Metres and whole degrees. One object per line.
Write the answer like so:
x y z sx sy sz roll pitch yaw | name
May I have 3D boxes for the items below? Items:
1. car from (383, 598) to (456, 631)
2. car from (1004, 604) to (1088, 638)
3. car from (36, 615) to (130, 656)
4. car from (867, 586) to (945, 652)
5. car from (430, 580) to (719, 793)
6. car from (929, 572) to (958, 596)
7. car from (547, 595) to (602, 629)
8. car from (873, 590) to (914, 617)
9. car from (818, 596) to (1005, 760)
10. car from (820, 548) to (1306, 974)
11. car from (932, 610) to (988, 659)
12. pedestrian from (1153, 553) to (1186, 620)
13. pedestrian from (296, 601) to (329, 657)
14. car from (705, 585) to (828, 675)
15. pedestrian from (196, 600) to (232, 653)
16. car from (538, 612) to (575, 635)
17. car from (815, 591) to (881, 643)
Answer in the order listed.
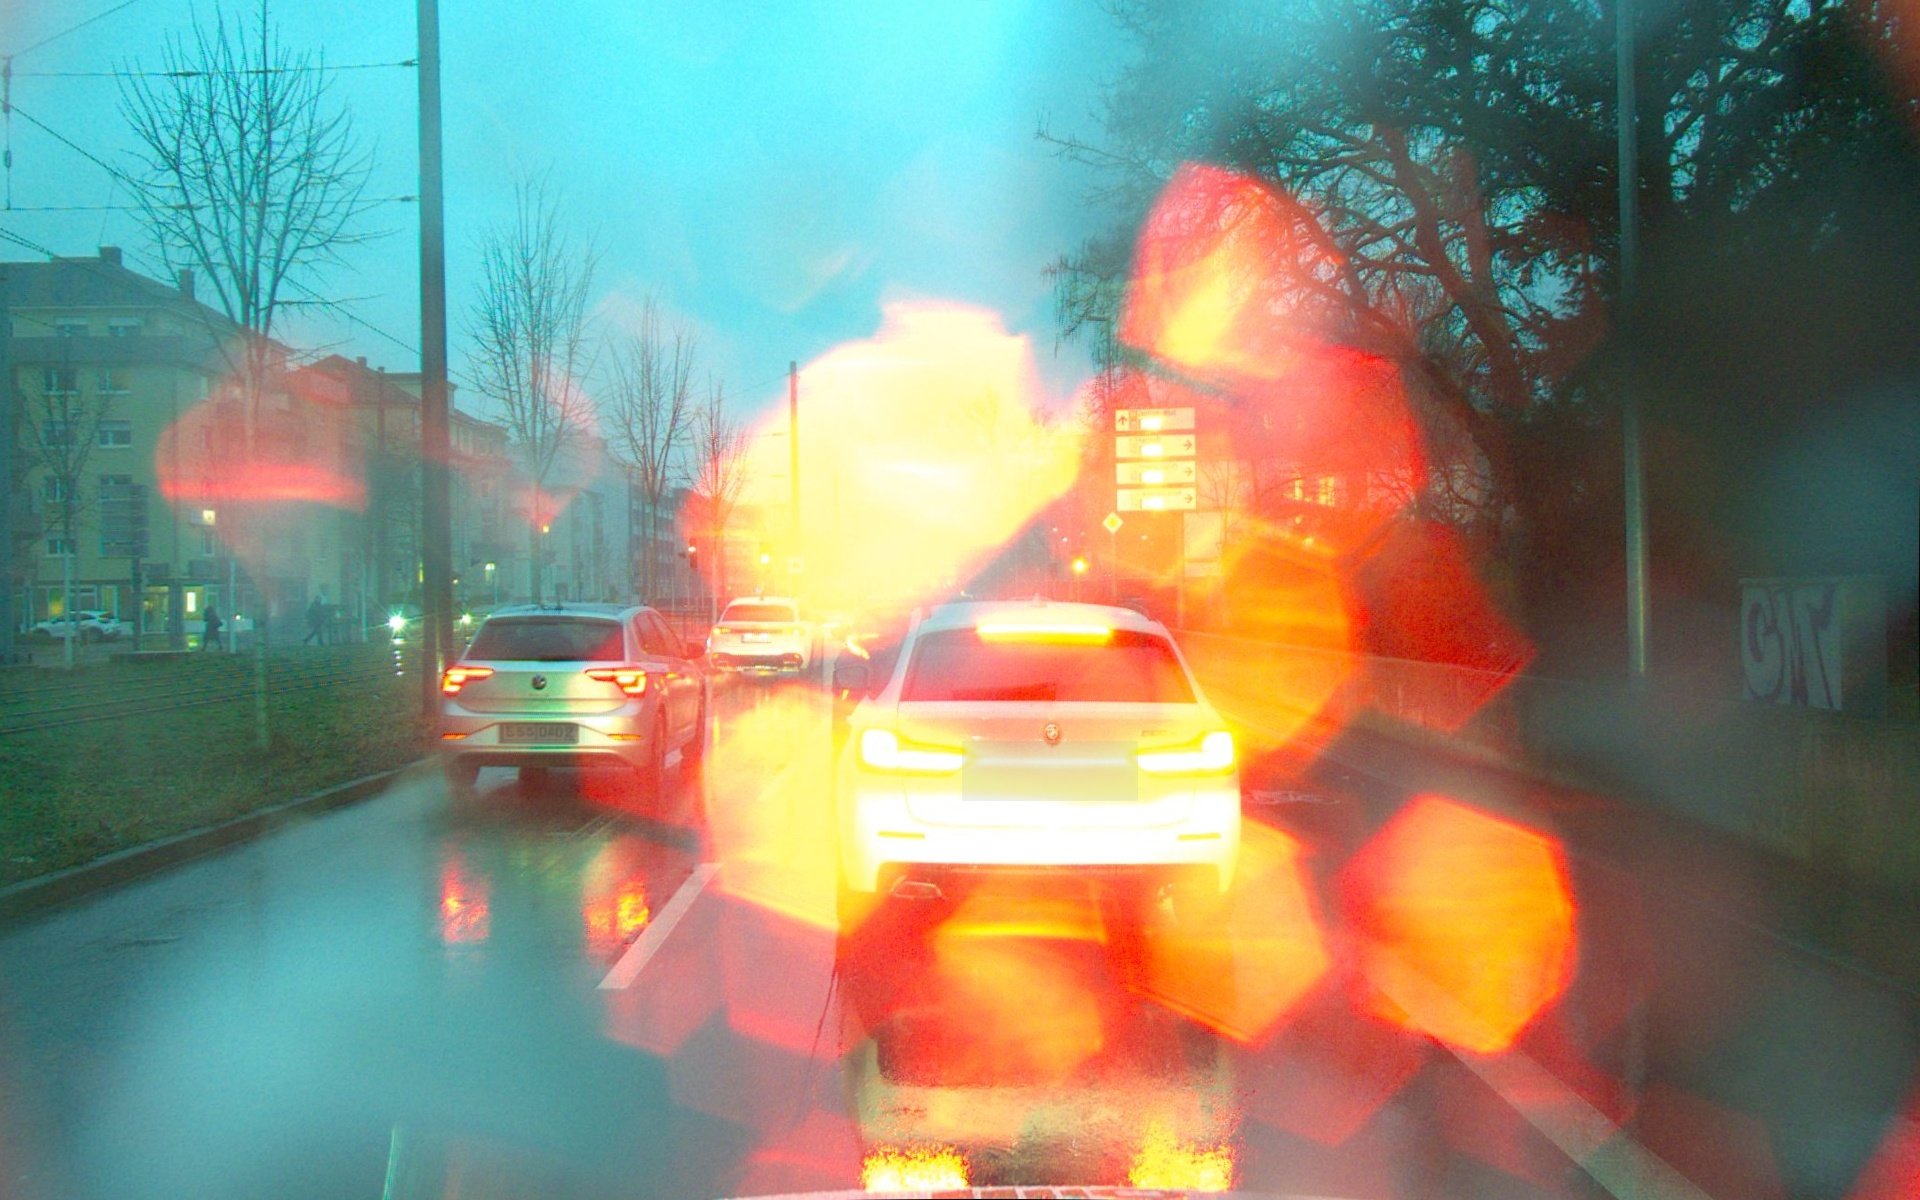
-23.560 0.637 72.266 1.821 1.355 4.314 1 0 -1 | car
3.807 0.939 73.937 1.727 1.444 3.648 -1 0 -40 | car
-43.745 1.768 82.596 3.679 1.976 1.838 1 0 -9 | car
-1.227 0.418 38.708 1.702 1.444 3.702 -1 0 -1 | car
-3.126 0.627 14.170 1.659 1.560 3.998 0 0 -2 | car
-1.028 -0.981 101.785 1.702 1.444 4.145 -1 0 -1 | car
-19.624 0.602 84.271 1.953 1.630 3.998 1 0 -2 | car
-3.286 0.181 82.255 1.891 1.311 3.999 1 0 -1 | car
-0.486 0.741 17.706 1.763 1.537 3.894 -1 0 -1 | car
0.360 0.596 8.766 1.825 1.583 4.937 -1 0 -1 | car
-0.024 1.074 52.908 1.702 1.444 3.702 -1 0 -1 | car
6.536 -0.429 51.633 0.938 2.049 1.008 -1 0 3 | pedestrian
-24.372 1.075 62.294 0.941 2.049 1.005 -1 0 -9 | pedestrian
-3.459 0.499 30.338 1.762 1.492 4.585 -1 0 -1 | car
-29.384 1.039 65.121 1.253 2.049 1.000 -1 0 -25 | pedestrian
-24.047 1.380 98.637 1.659 1.300 4.142 -1 0 -7 | car
-3.292 0.481 49.361 1.702 1.444 4.393 -1 0 -1 | car
